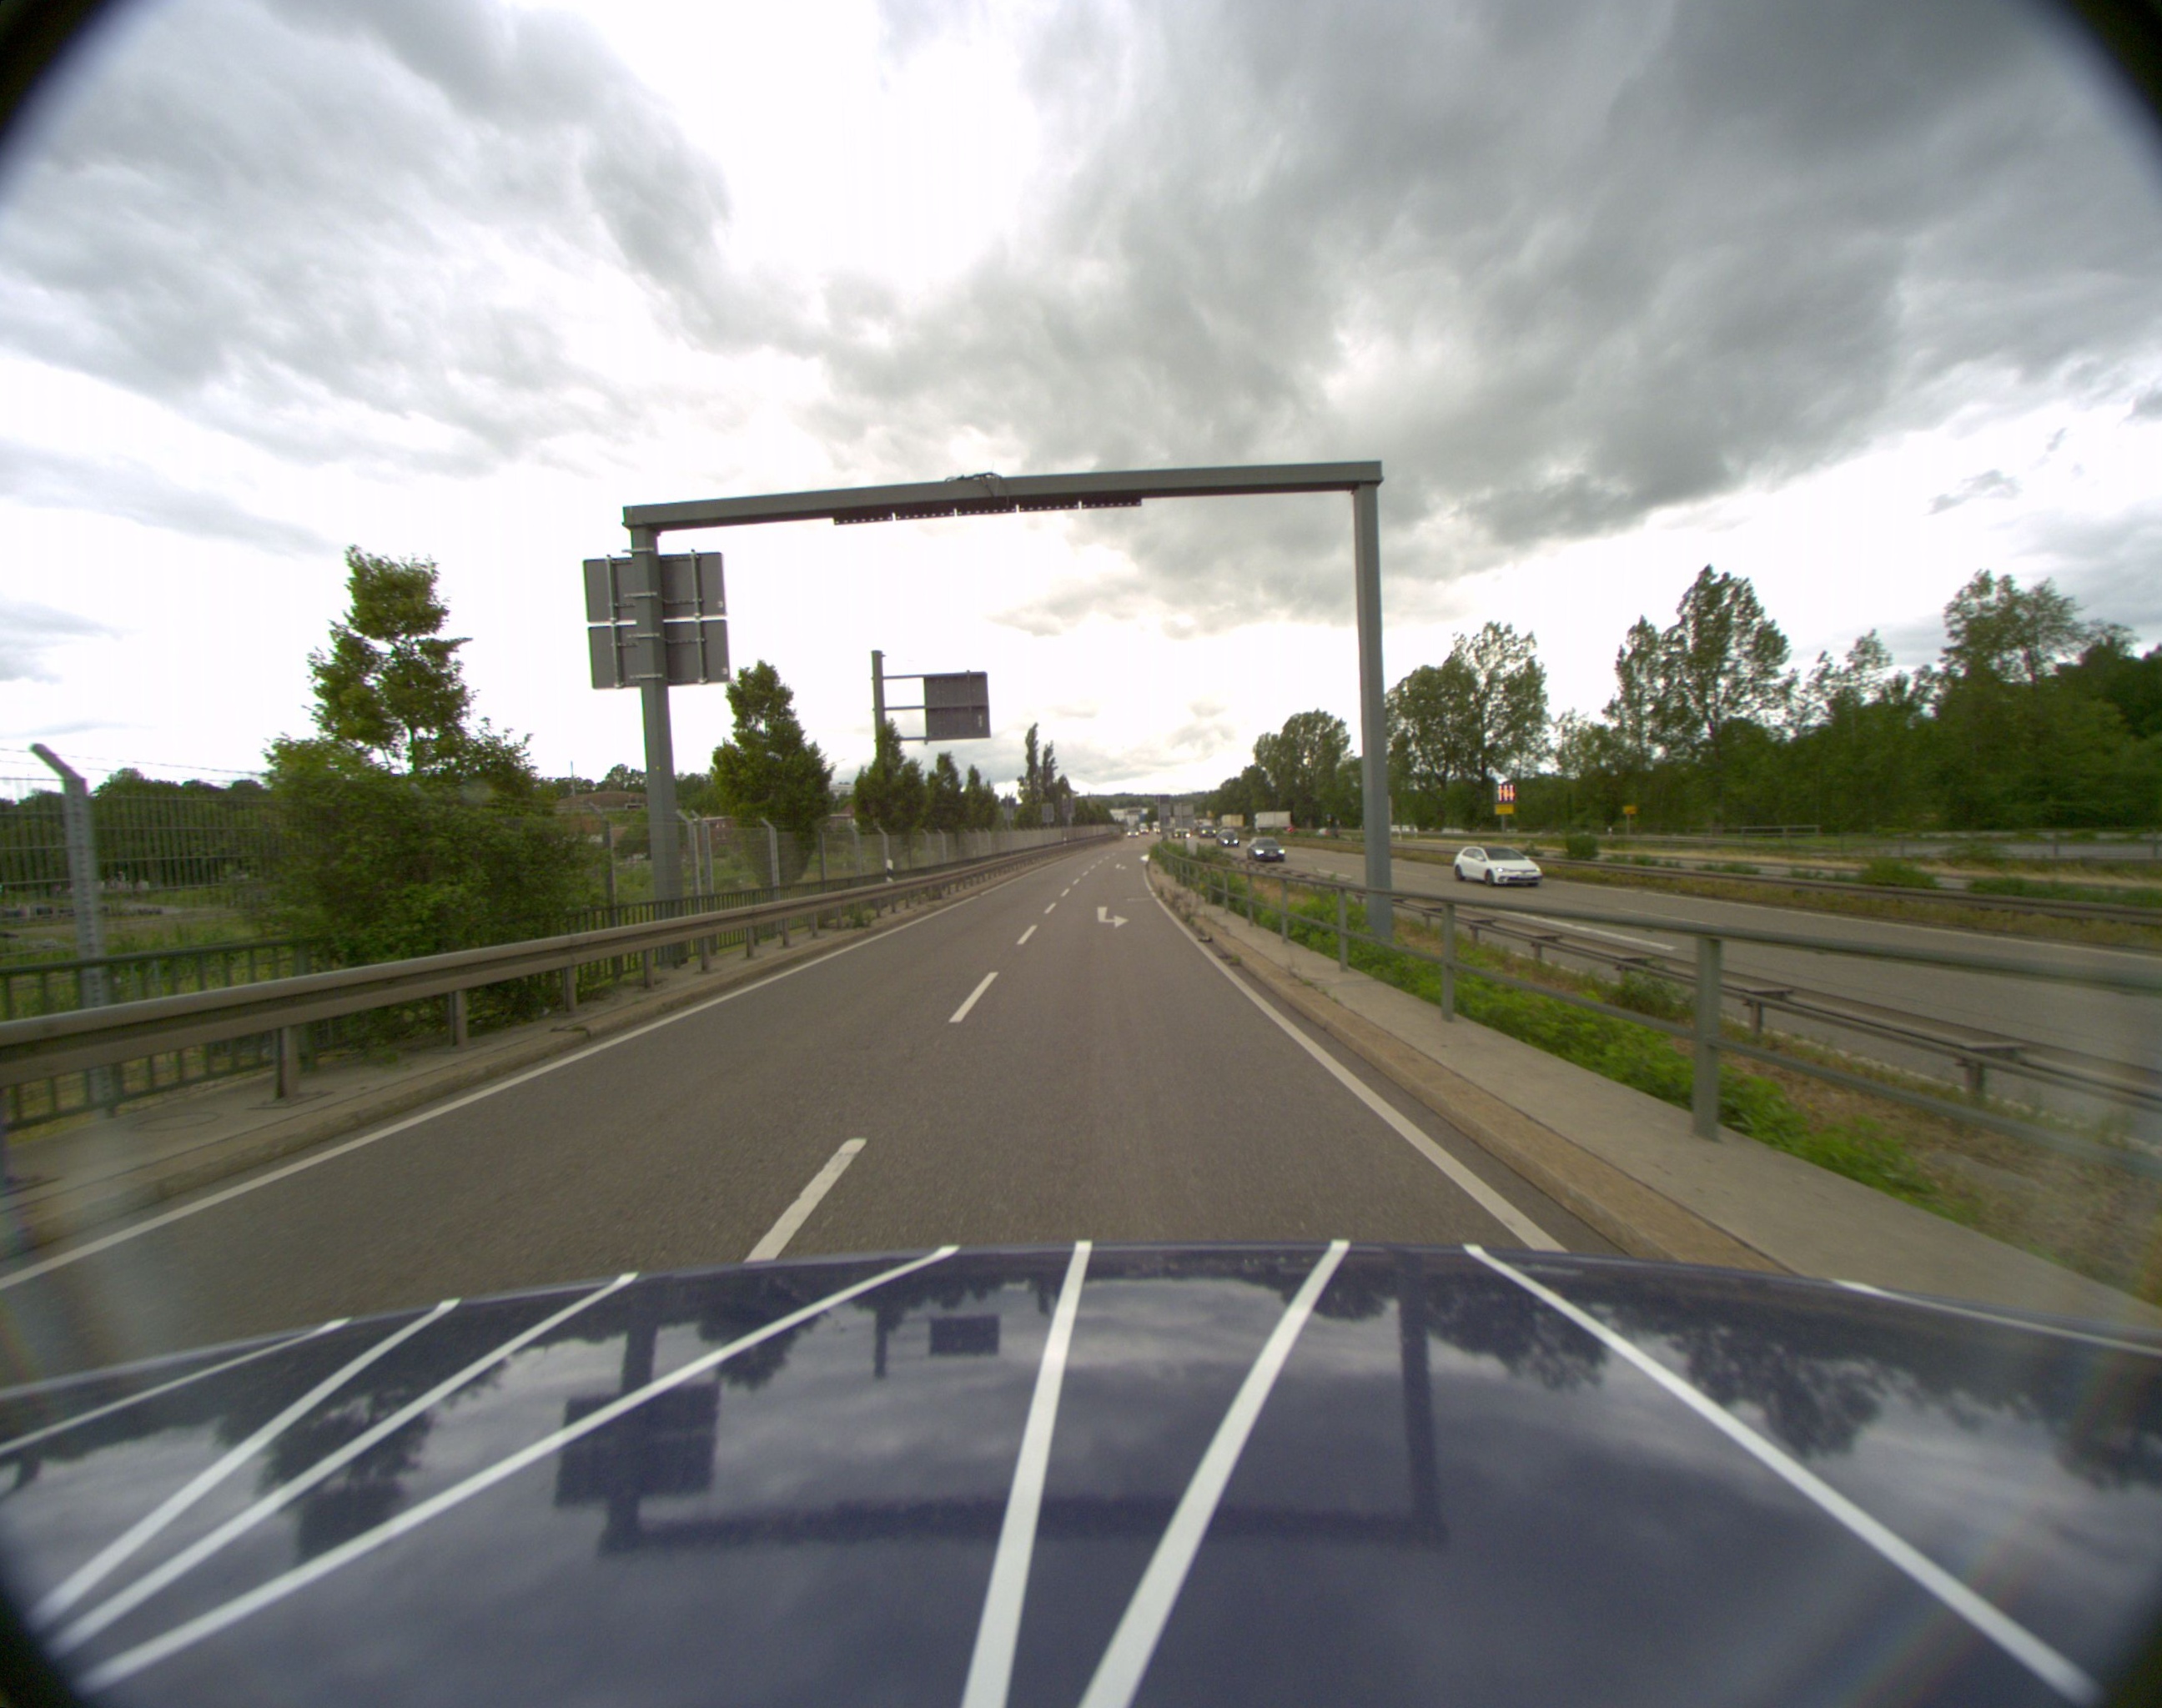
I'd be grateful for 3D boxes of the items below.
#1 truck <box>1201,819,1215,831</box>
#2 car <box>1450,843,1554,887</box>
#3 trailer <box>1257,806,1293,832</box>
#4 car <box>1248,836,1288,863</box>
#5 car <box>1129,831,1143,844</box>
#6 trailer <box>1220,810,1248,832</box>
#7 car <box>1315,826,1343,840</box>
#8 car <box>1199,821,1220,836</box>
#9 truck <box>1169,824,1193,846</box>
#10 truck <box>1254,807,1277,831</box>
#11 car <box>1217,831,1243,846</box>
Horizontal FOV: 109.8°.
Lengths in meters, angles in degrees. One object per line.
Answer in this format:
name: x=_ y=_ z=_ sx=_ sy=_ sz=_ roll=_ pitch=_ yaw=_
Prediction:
truck: x=40.864 y=-9.387 z=244.914 sx=2.990 sy=3.623 sz=6.334 roll=-4 pitch=2 yaw=-1
car: x=16.089 y=0.359 z=29.286 sx=1.859 sy=1.491 sz=3.999 roll=-1 pitch=2 yaw=1
trailer: x=32.141 y=-5.842 z=126.717 sx=2.797 sy=3.928 sz=13.508 roll=-3 pitch=3 yaw=2
car: x=11.428 y=-0.310 z=46.718 sx=1.939 sy=1.492 sz=4.305 roll=0 pitch=2 yaw=8
car: x=9.341 y=-2.867 z=128.828 sx=1.997 sy=2.003 sz=4.000 roll=-2 pitch=2 yaw=8
trailer: x=34.601 y=-7.367 z=172.779 sx=3.472 sy=4.647 sz=14.777 roll=-2 pitch=2 yaw=1
car: x=27.534 y=-2.319 z=84.444 sx=1.998 sy=1.427 sz=3.999 roll=-1 pitch=2 yaw=2
car: x=19.047 y=-3.853 z=112.952 sx=2.099 sy=2.003 sz=5.335 roll=-1 pitch=3 yaw=-1
truck: x=15.398 y=-3.021 z=117.495 sx=3.039 sy=3.142 sz=7.566 roll=-1 pitch=3 yaw=4
truck: x=32.350 y=-6.171 z=133.629 sx=2.796 sy=3.916 sz=5.310 roll=-3 pitch=3 yaw=2
car: x=13.897 y=-1.425 z=70.888 sx=1.728 sy=1.320 sz=3.646 roll=-1 pitch=2 yaw=1
